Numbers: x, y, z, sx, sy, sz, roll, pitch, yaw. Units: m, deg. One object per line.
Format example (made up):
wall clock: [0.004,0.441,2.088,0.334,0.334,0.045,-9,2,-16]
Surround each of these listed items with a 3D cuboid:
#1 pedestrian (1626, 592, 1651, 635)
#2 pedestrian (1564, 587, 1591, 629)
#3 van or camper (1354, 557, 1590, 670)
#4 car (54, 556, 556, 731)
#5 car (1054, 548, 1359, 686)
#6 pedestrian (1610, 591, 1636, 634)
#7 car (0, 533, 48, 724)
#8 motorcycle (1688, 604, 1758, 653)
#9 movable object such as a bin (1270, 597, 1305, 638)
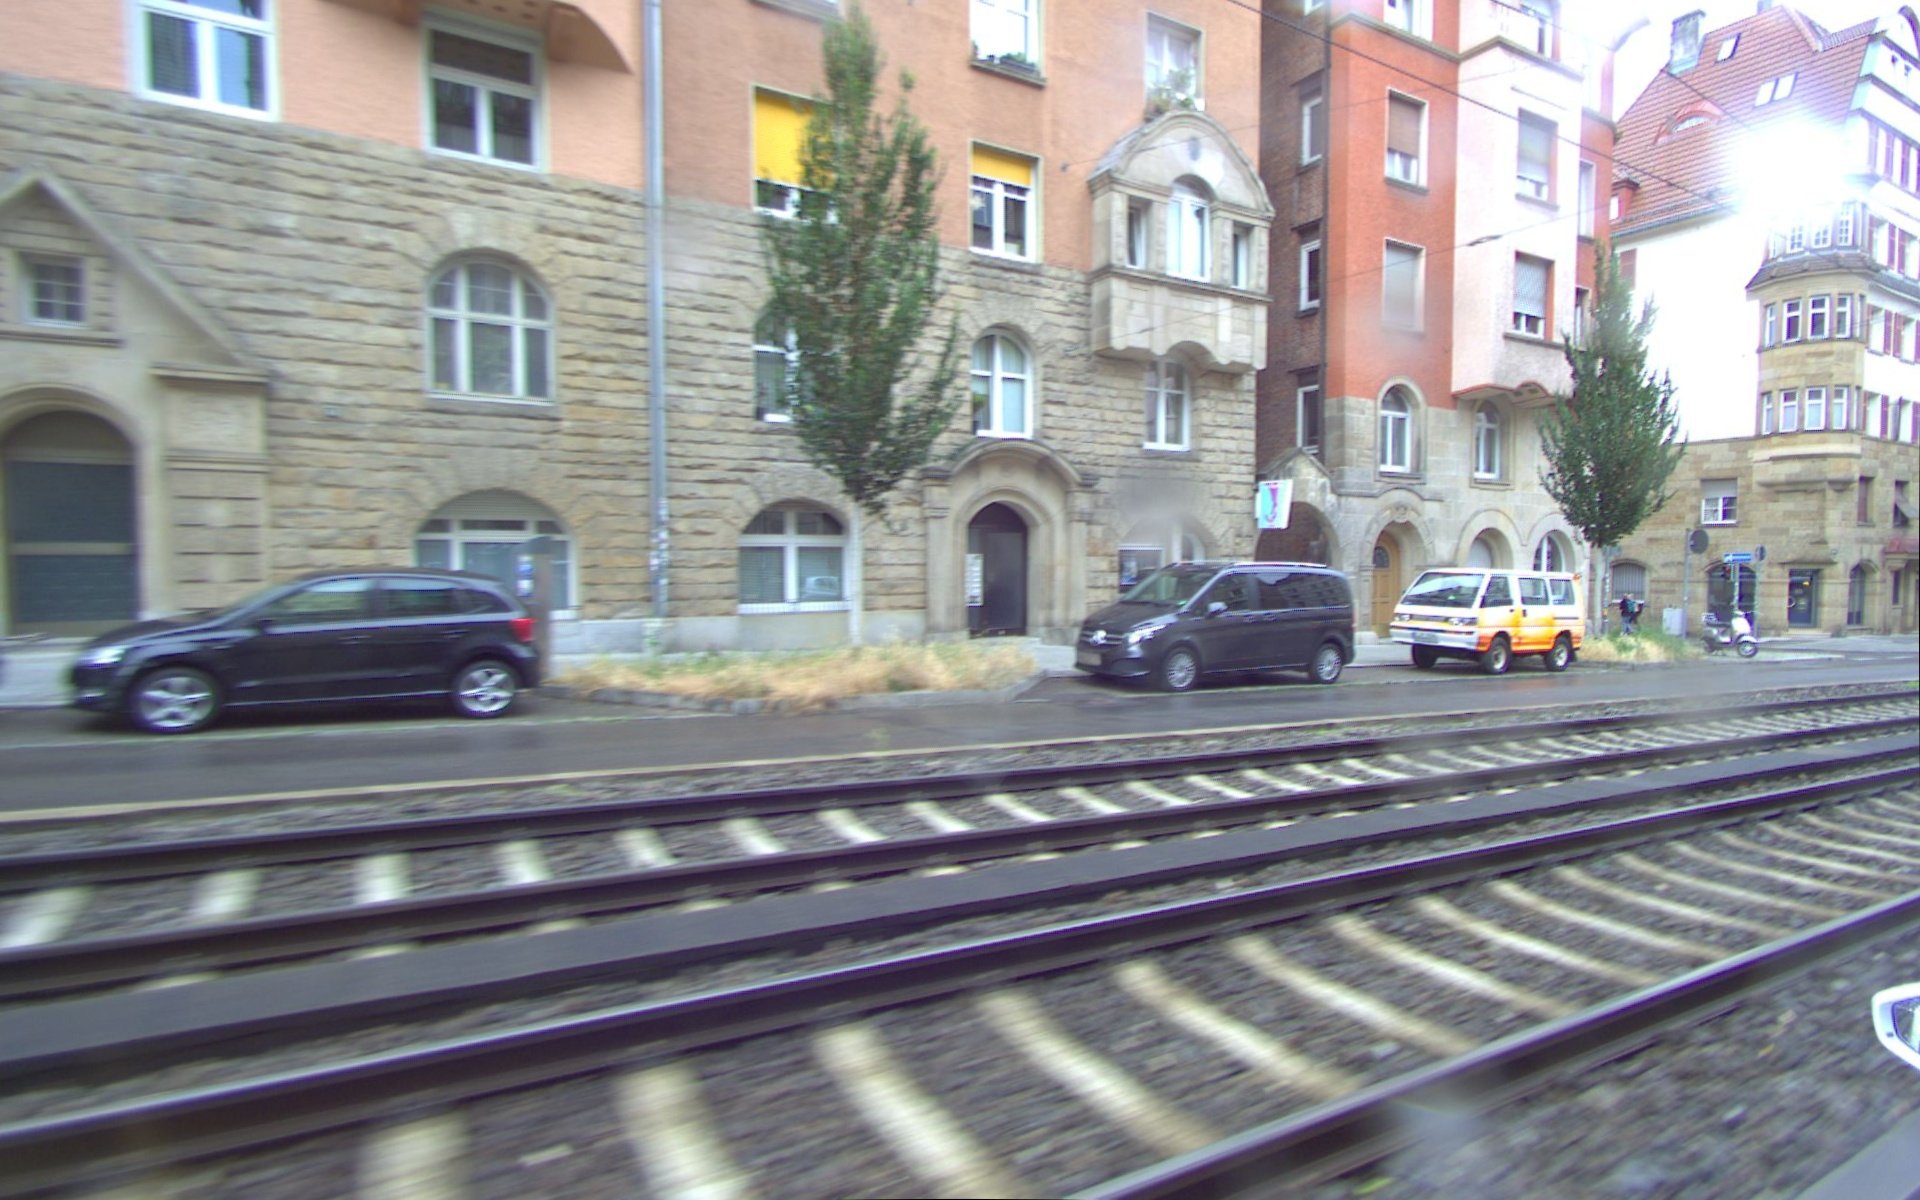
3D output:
pedestrian: [28.240,0.560,41.798,0.635,1.756,0.604,1,2,-29]
pedestrian: [26.098,0.345,42.452,0.854,1.756,0.604,1,2,-29]
van or camper: [10.192,0.235,19.909,4.647,1.927,1.982,1,4,-32]
car: [-6.184,0.338,9.904,3.842,1.417,1.632,1,2,-33]
car: [3.972,0.255,15.983,4.644,1.927,1.984,1,0,-30]
pedestrian: [27.543,0.534,41.721,0.635,1.756,0.604,1,2,-29]
car: [-10.235,0.189,7.393,4.920,1.530,1.982,0,3,-33]
motorcycle: [19.295,0.703,25.428,0.608,1.149,1.441,2,2,0]
movable object such as a bin: [7.884,0.415,24.210,0.513,0.968,0.571,0,2,-30]
